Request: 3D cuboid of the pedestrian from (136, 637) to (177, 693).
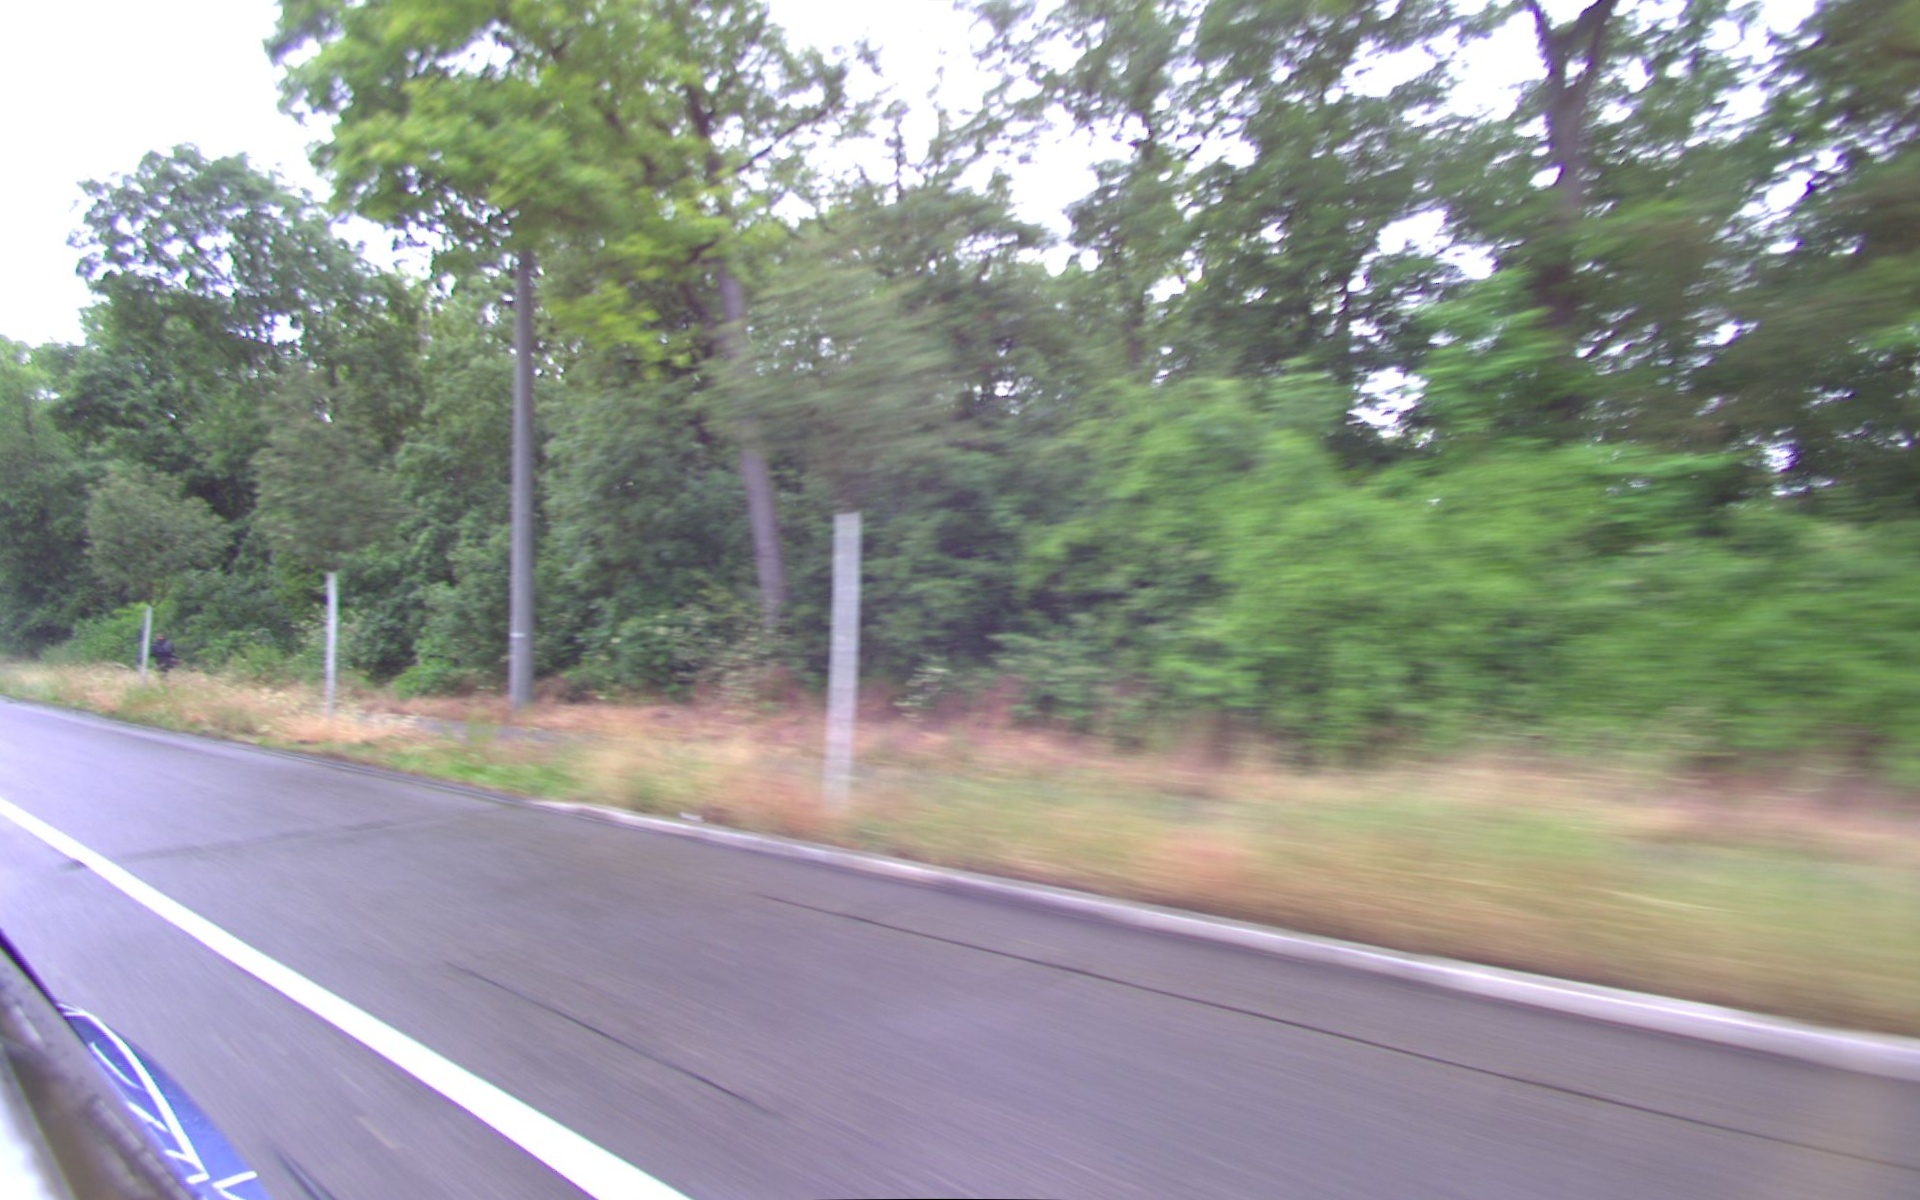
[{"bbox_3d":[-23.811,1.900,29.987,0.731,1.620,0.774,-2,-2,38],"label":"pedestrian"}]
